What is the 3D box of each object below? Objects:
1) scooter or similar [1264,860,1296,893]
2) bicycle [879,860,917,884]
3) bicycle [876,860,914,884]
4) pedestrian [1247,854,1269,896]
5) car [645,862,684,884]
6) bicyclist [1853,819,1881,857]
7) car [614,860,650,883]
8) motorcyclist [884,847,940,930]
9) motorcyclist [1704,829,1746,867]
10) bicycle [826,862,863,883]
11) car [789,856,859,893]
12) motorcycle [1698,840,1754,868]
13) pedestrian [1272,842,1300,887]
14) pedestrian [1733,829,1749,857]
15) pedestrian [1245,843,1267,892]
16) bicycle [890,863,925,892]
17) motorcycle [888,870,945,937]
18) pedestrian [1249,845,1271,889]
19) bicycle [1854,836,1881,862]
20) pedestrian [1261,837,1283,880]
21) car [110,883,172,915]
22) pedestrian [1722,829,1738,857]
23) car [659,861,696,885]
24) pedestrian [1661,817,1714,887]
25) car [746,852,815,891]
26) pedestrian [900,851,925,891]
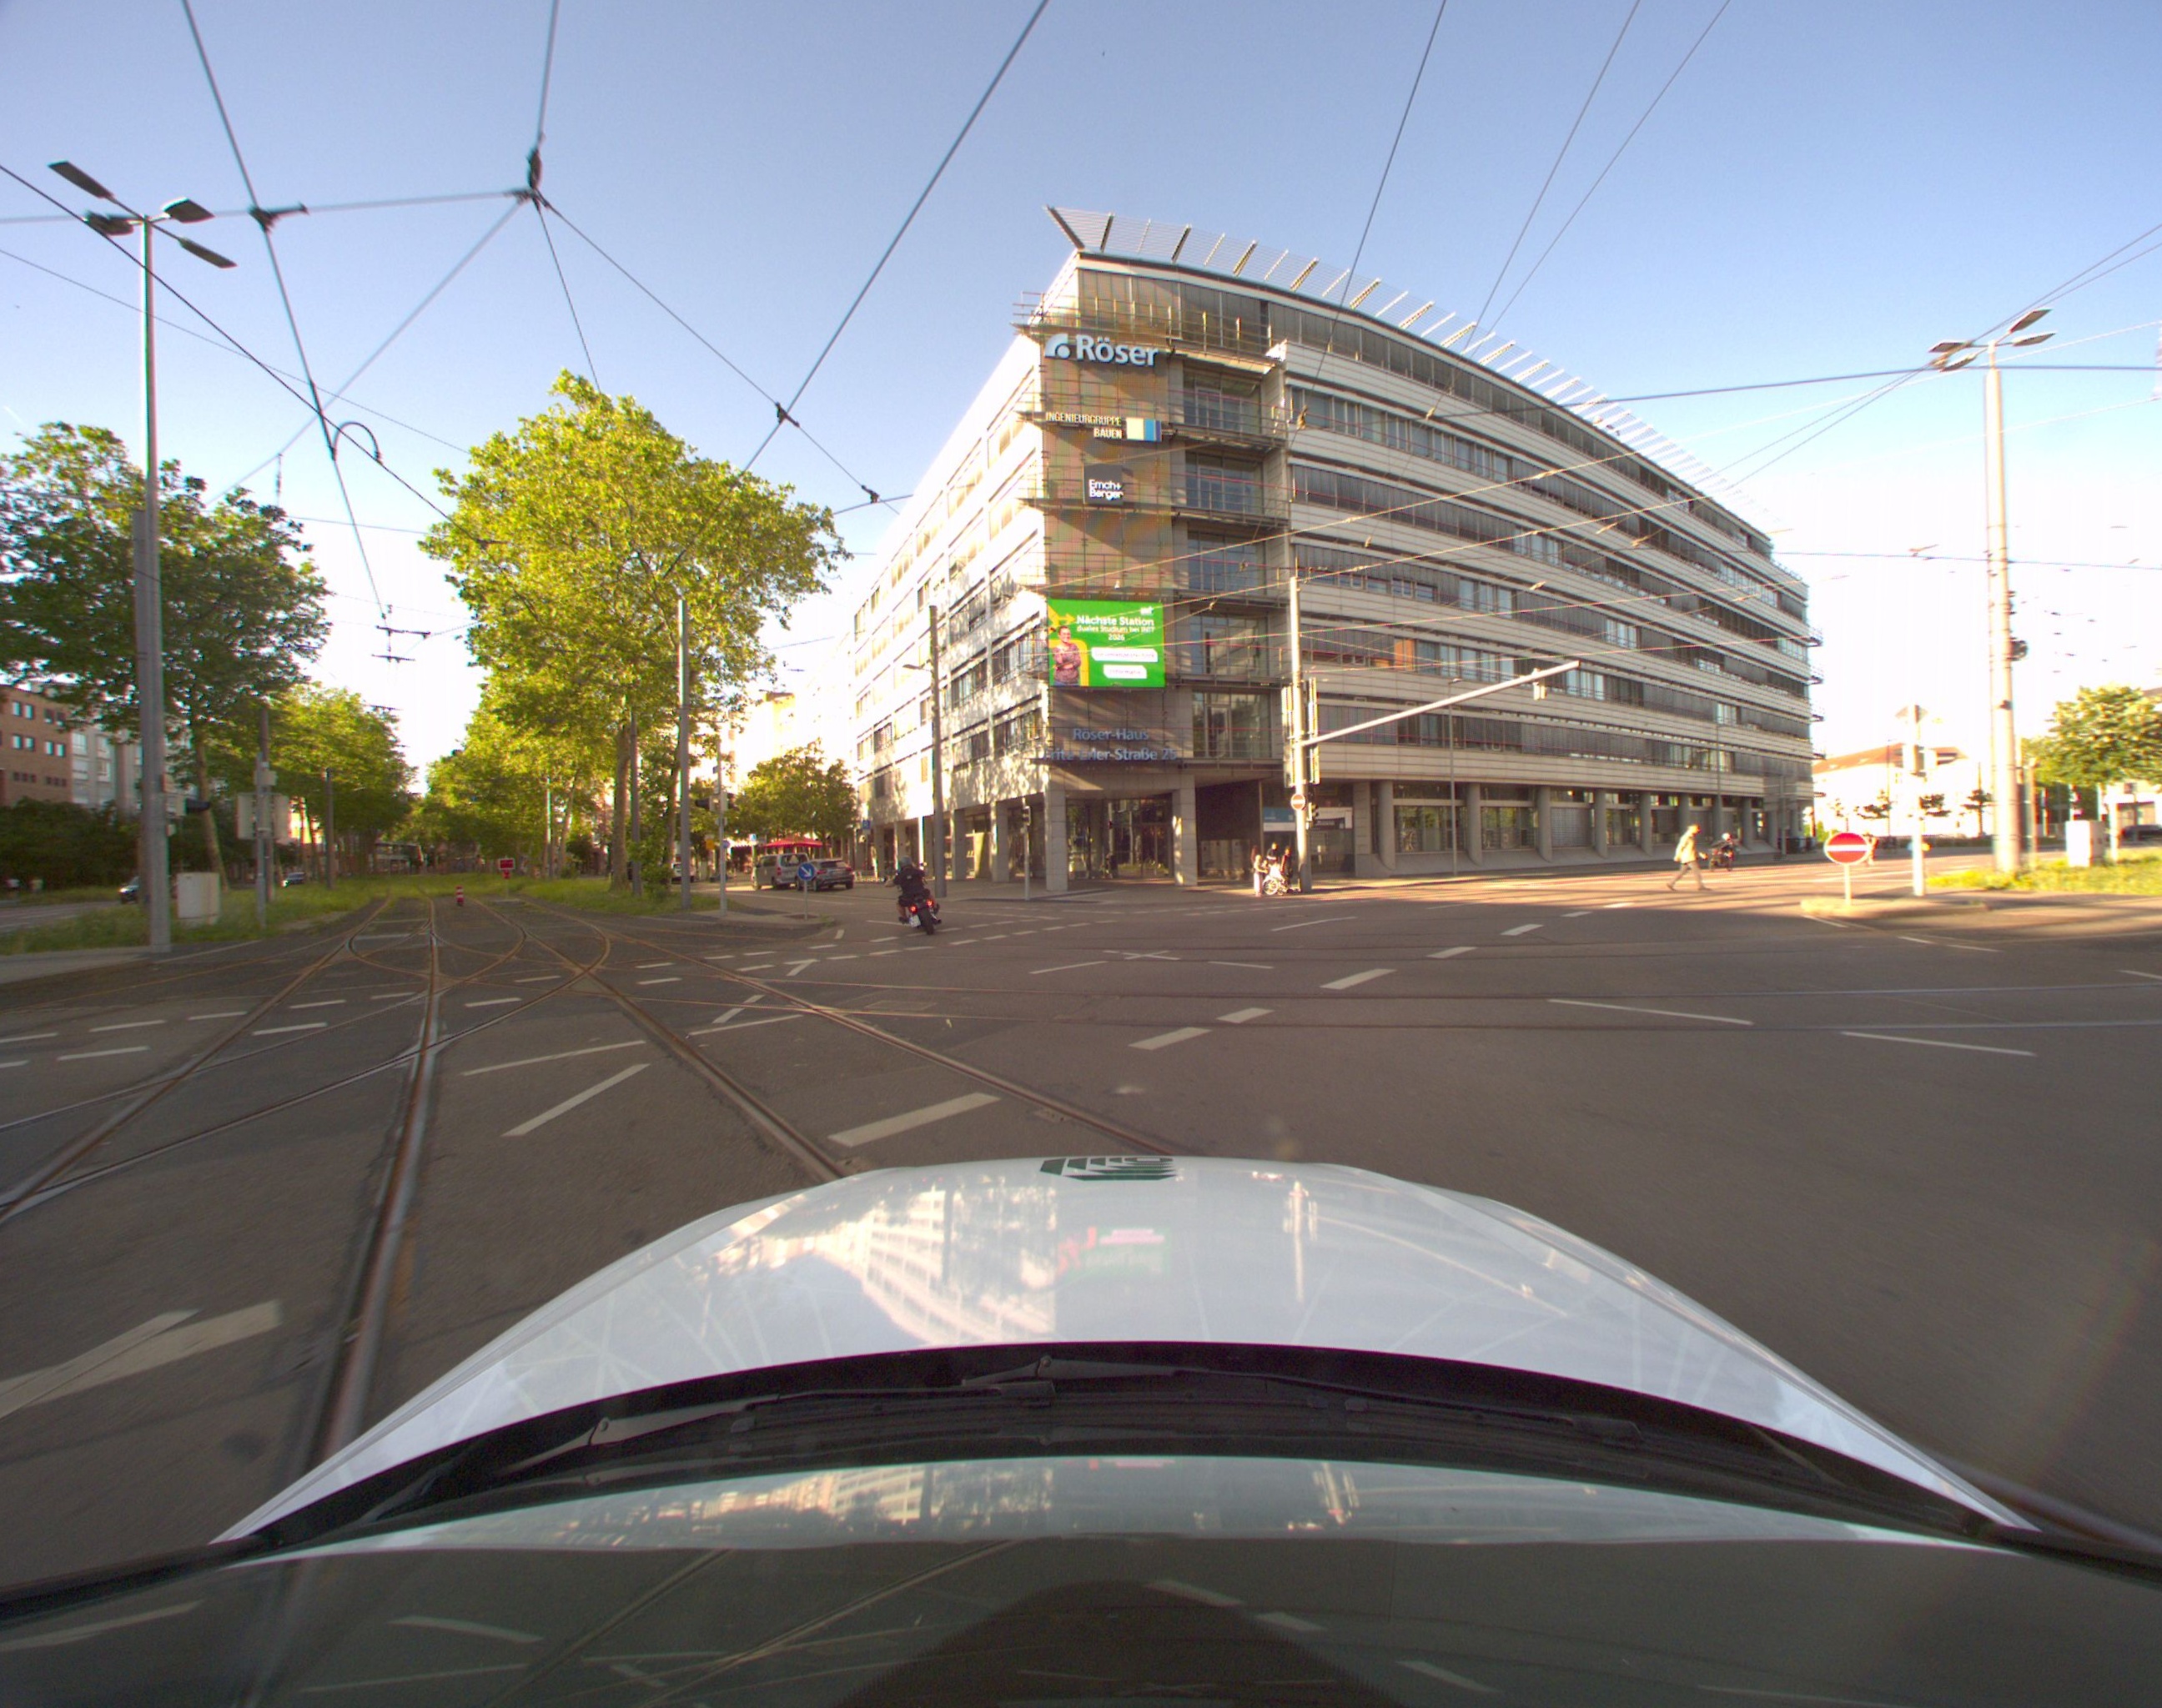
[{"bbox_3d":[7.035,0.798,28.752,1.006,1.129,0.553,-2,0,21],"label":"scooter or similar"},{"bbox_3d":[-9.679,0.964,43.137,1.846,1.151,0.465,-4,1,-34],"label":"bicycle"},{"bbox_3d":[-9.940,0.961,43.532,1.846,1.151,0.465,-4,1,-34],"label":"bicycle"},{"bbox_3d":[6.093,0.716,28.030,0.631,1.402,0.549,-2,0,20],"label":"pedestrian"},{"bbox_3d":[-34.236,1.560,66.878,2.004,1.629,4.037,-3,1,-39],"label":"car"},{"bbox_3d":[35.283,-0.725,36.565,0.999,1.667,0.757,-2,0,-38],"label":"bicyclist"},{"bbox_3d":[-41.757,1.619,75.694,2.047,1.976,4.363,-3,1,-39],"label":"car"},{"bbox_3d":[-3.387,0.659,16.279,1.023,1.552,1.281,-1,1,-13],"label":"motorcyclist"},{"bbox_3d":[29.799,-0.275,37.663,1.465,1.731,1.012,-2,0,-30],"label":"motorcyclist"},{"bbox_3d":[-13.436,1.050,46.359,1.883,1.101,0.732,-2,0,-42],"label":"bicycle"},{"bbox_3d":[-12.521,0.973,39.529,1.874,1.572,4.366,-5,2,-36],"label":"car"},{"bbox_3d":[29.834,-0.007,37.666,2.951,1.232,0.977,-2,0,-30],"label":"motorcycle"},{"bbox_3d":[7.583,0.382,30.151,0.657,1.617,0.716,-2,0,-31],"label":"pedestrian"},{"bbox_3d":[41.230,-0.677,50.867,0.644,1.733,0.544,-2,0,-34],"label":"pedestrian"},{"bbox_3d":[6.238,0.465,29.034,0.631,1.708,0.584,-2,0,20],"label":"pedestrian"},{"bbox_3d":[-7.412,0.983,34.693,0.616,1.163,1.826,-6,4,-39],"label":"bicycle"},{"bbox_3d":[-3.314,0.941,16.276,1.007,1.125,2.313,-1,1,-13],"label":"motorcycle"},{"bbox_3d":[6.595,0.481,30.034,0.696,1.600,0.663,-1,1,19],"label":"pedestrian"},{"bbox_3d":[35.326,-0.238,36.587,1.693,1.107,0.637,-2,1,-39],"label":"bicycle"},{"bbox_3d":[7.710,0.180,32.905,0.637,1.715,0.694,-2,0,28],"label":"pedestrian"},{"bbox_3d":[-54.677,2.608,47.455,1.838,1.562,4.289,-2,1,-42],"label":"car"},{"bbox_3d":[40.915,-0.681,51.352,0.644,1.733,0.544,-2,0,-34],"label":"pedestrian"},{"bbox_3d":[-30.885,1.445,62.320,1.874,1.638,3.825,-2,1,-36],"label":"car"},{"bbox_3d":[16.113,-0.044,21.635,0.680,1.823,0.876,-1,-2,-35],"label":"pedestrian"},{"bbox_3d":[-16.214,0.944,43.781,1.938,1.843,4.867,-5,2,-39],"label":"car"},{"bbox_3d":[-7.224,0.717,34.904,0.610,1.610,0.828,-6,4,-39],"label":"pedestrian"}]
